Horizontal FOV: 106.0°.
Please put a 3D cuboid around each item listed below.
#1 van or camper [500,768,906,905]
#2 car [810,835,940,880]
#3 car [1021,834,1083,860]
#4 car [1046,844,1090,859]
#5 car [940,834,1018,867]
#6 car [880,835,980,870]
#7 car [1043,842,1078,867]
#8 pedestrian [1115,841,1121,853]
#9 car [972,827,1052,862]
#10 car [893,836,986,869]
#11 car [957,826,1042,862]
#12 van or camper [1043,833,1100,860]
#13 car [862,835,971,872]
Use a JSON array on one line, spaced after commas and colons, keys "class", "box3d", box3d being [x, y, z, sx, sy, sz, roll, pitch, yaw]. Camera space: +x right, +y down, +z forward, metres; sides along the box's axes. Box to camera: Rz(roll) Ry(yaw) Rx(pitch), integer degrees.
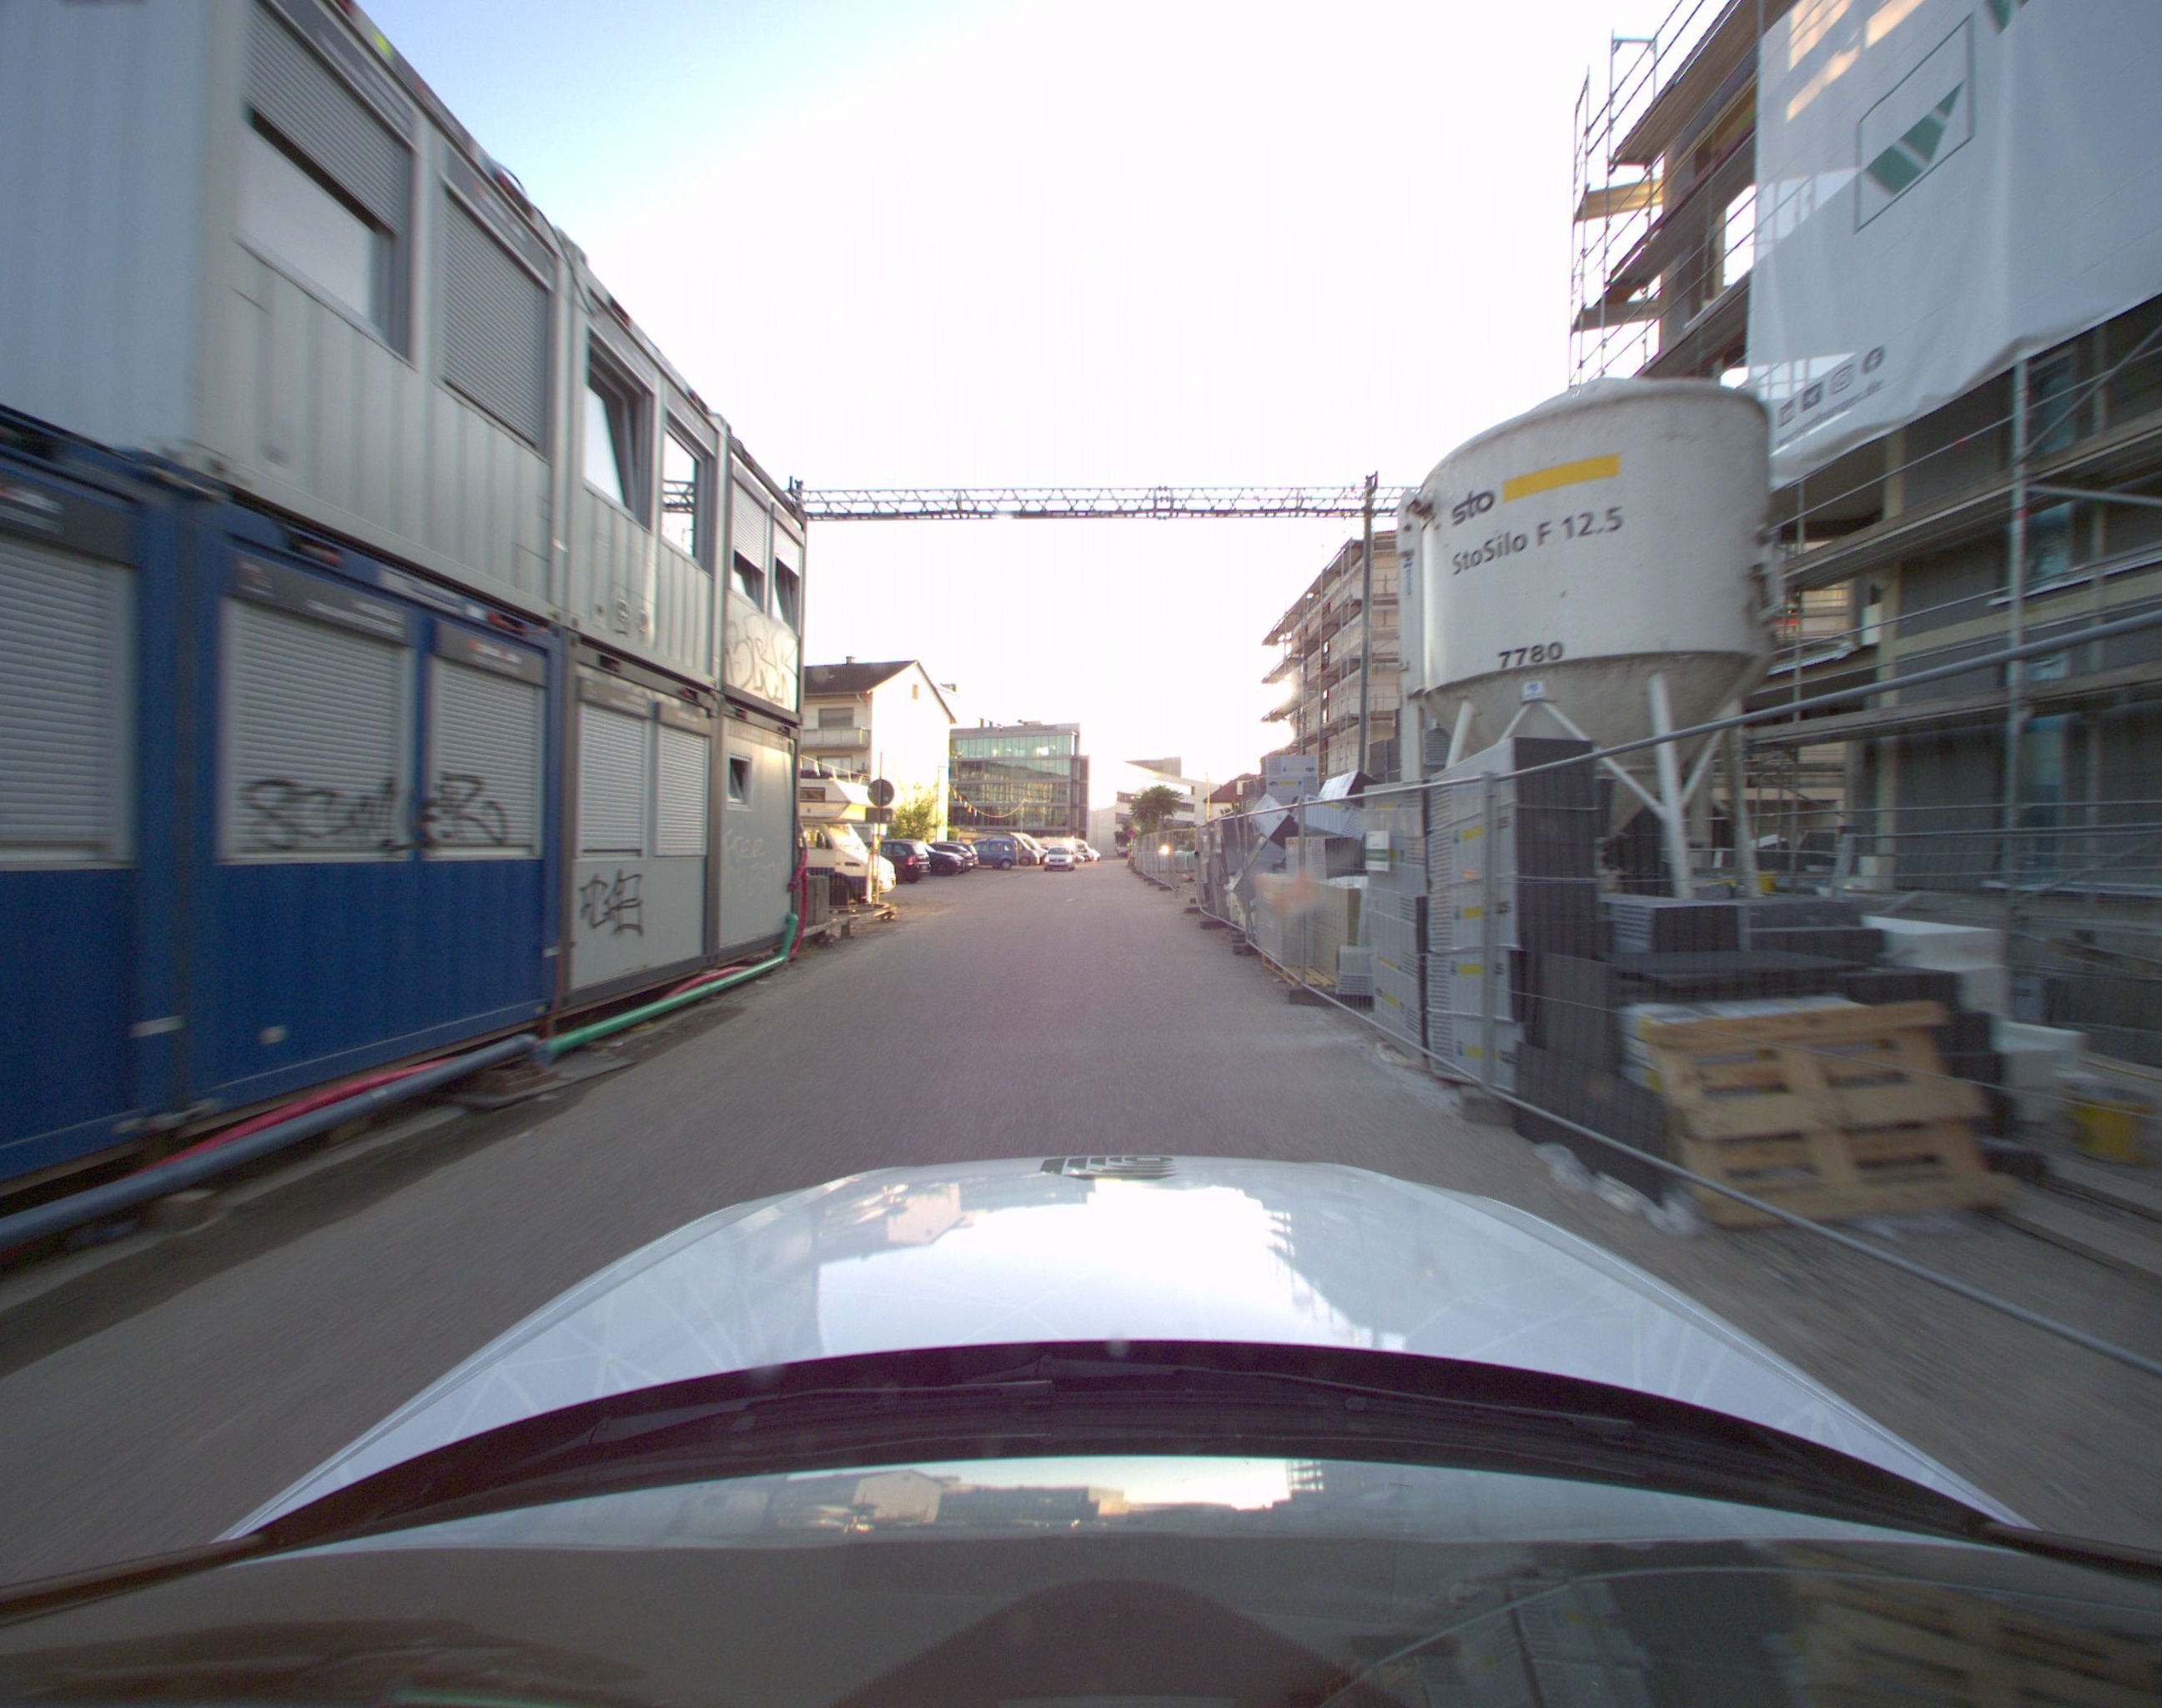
[{"class": "van or camper", "box3d": [-8.974, -0.431, 19.926, 8.729, 3.048, 2.597, 1, 0, 2]}, {"class": "car", "box3d": [-8.045, 0.126, 31.981, 4.476, 1.648, 2.006, 1, 1, 9]}, {"class": "car", "box3d": [-2.919, -0.732, 81.998, 5.884, 2.490, 2.007, 1, 0, 12]}, {"class": "car", "box3d": [-1.426, -0.292, 90.102, 4.476, 1.648, 2.006, 1, 1, 9]}, {"class": "car", "box3d": [-6.055, -0.223, 48.898, 4.496, 1.868, 1.997, 1, 0, -5]}, {"class": "car", "box3d": [-7.477, -0.096, 40.529, 4.476, 1.648, 2.006, 1, 1, 9]}, {"class": "car", "box3d": [-1.256, 0.002, 51.916, 1.656, 1.529, 3.918, 1, 1, 7]}, {"class": "pedestrian", "box3d": [5.670, -1.096, 124.777, 0.756, 1.816, 0.850, 1, 0, 24]}, {"class": "car", "box3d": [-5.632, -0.787, 66.763, 6.305, 2.741, 2.001, 1, 0, 1]}, {"class": "car", "box3d": [-7.607, -0.098, 43.919, 4.476, 1.648, 2.006, 1, 1, 9]}, {"class": "car", "box3d": [-6.260, -0.791, 62.866, 6.305, 2.651, 2.001, 1, 0, 1]}, {"class": "van or camper", "box3d": [-1.101, -0.913, 95.775, 6.289, 2.978, 2.301, 2, 0, 13]}, {"class": "car", "box3d": [-7.551, -0.040, 37.586, 4.476, 1.648, 2.006, 1, 1, 9]}]
